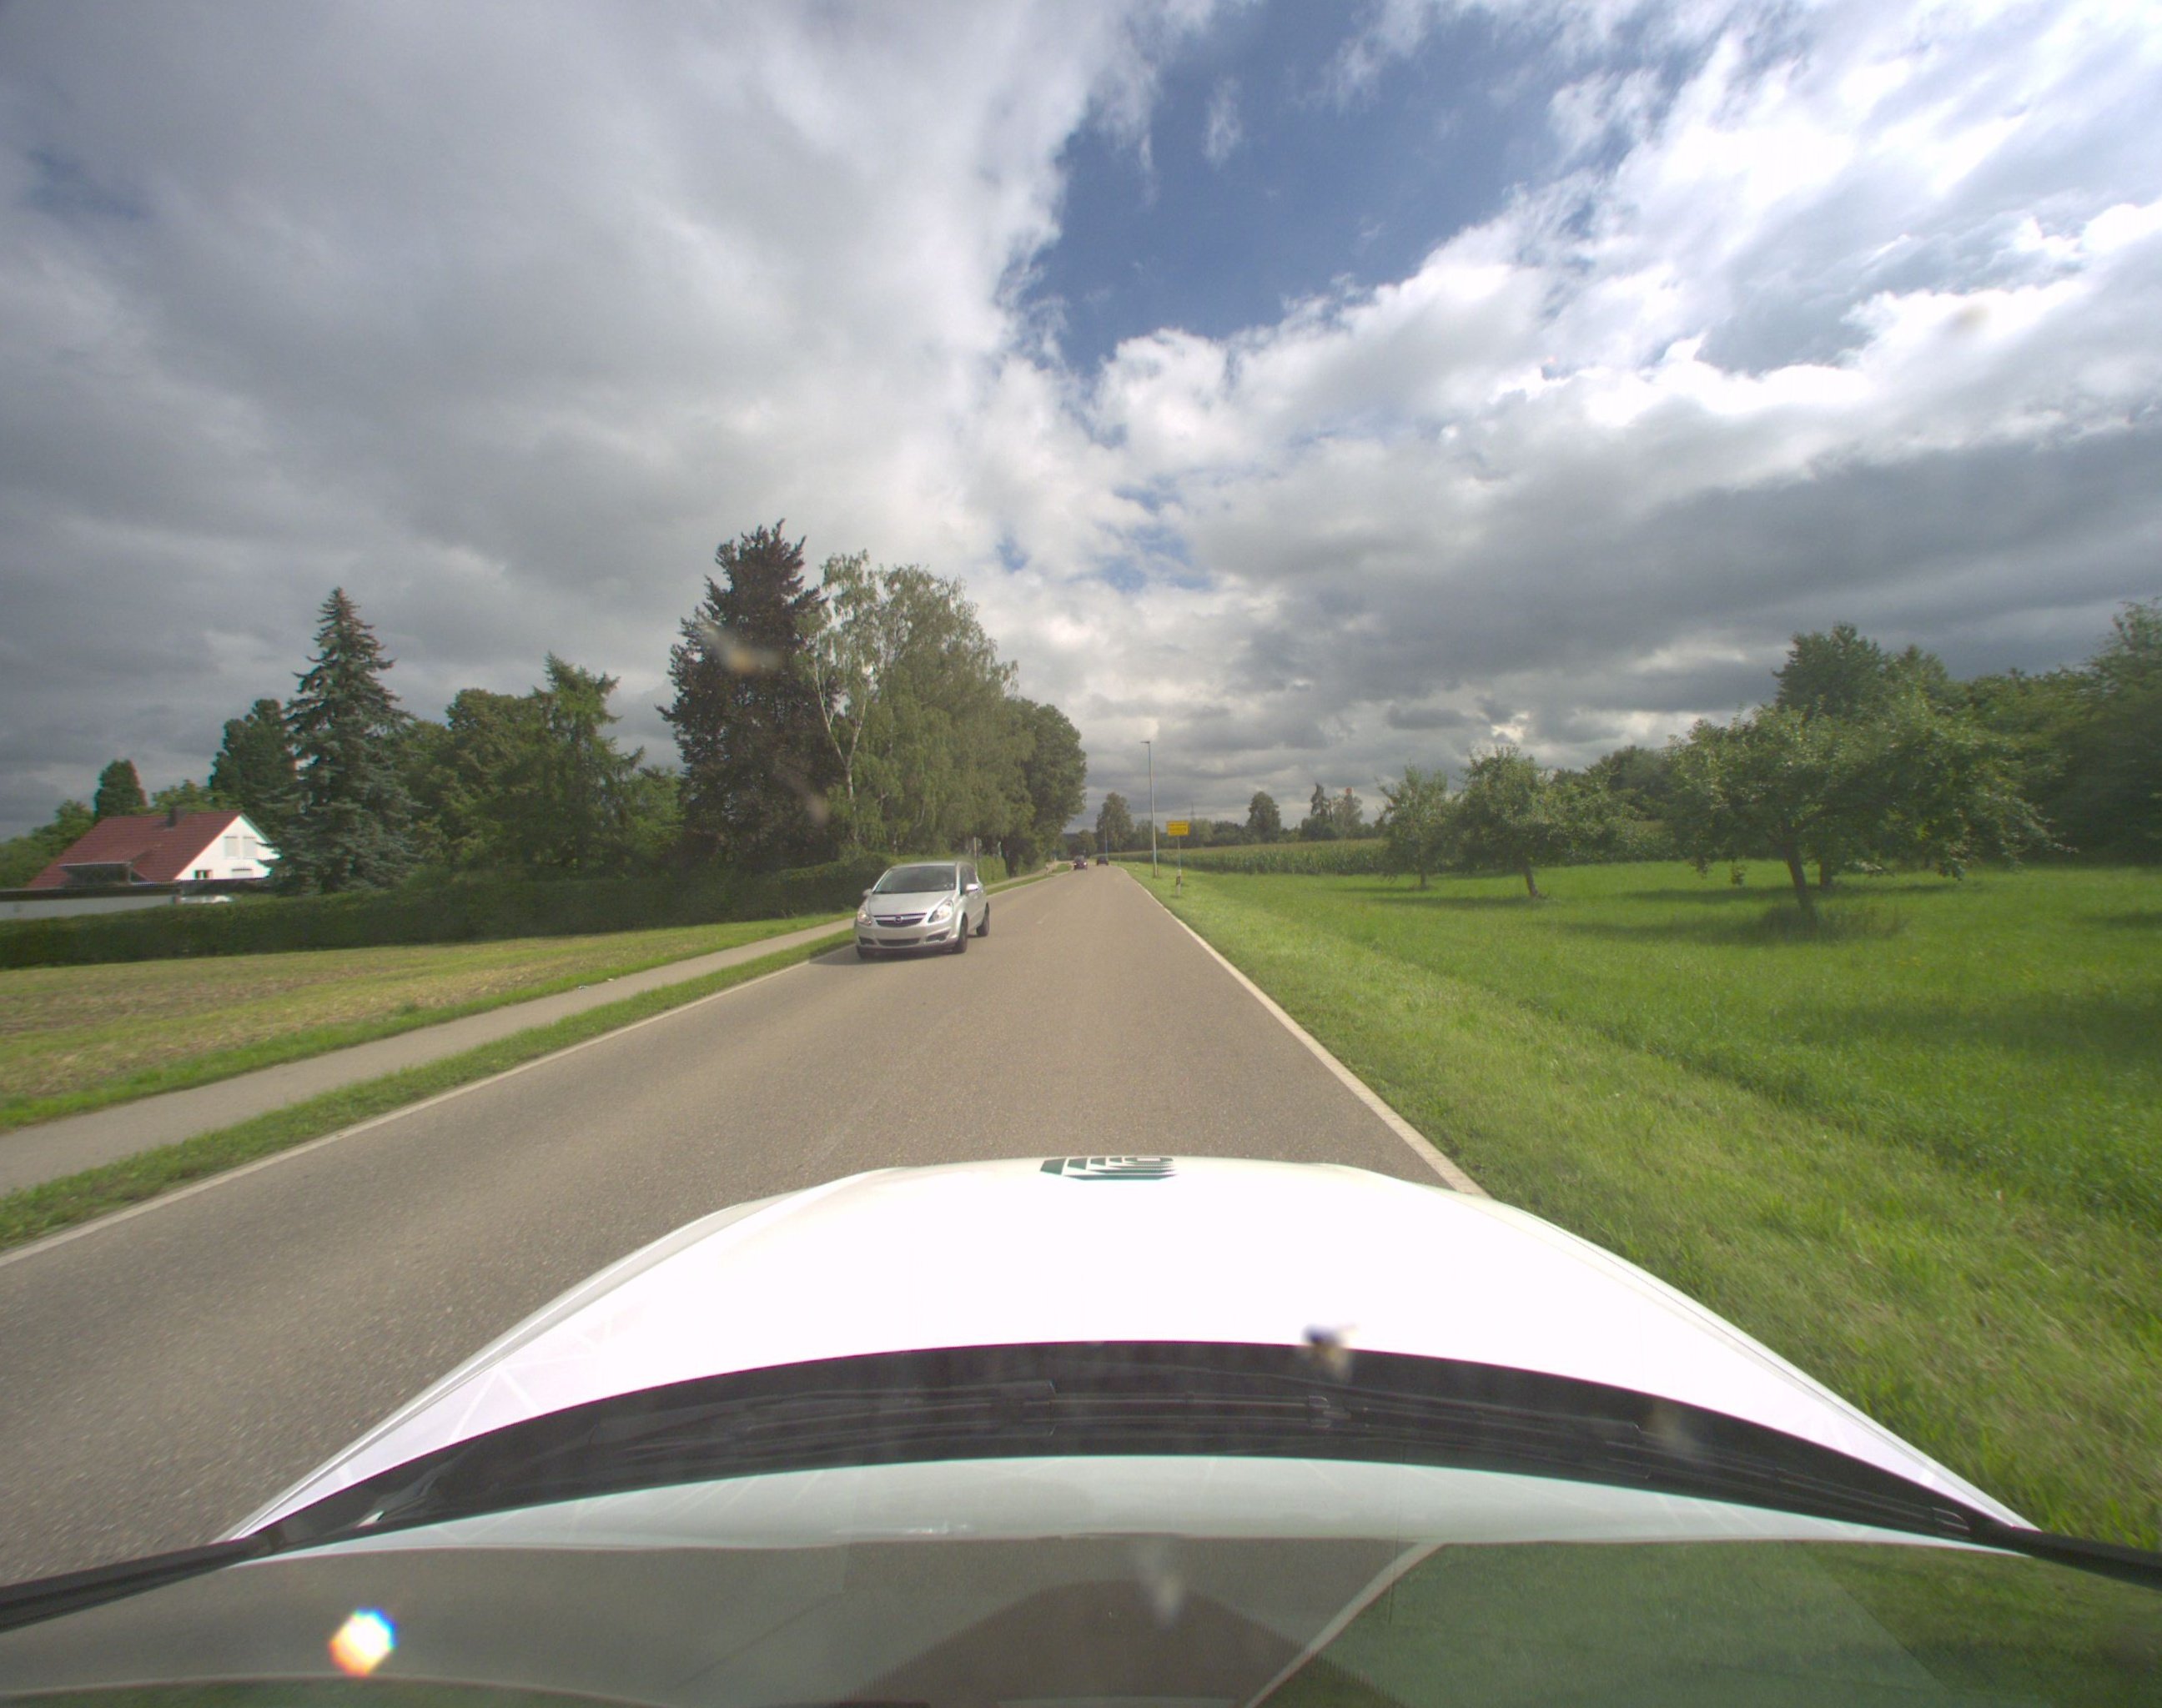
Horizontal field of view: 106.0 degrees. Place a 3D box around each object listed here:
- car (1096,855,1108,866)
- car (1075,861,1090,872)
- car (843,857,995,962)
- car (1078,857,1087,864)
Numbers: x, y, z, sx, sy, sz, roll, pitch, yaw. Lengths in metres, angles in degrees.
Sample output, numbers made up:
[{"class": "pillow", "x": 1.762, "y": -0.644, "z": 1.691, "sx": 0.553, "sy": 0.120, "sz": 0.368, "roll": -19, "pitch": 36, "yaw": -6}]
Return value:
[{"class": "car", "x": 3.363, "y": 1.057, "z": 130.084, "sx": 1.899, "sy": 1.666, "sz": 4.001, "roll": -2, "pitch": 0, "yaw": 1}, {"class": "car", "x": 0.231, "y": 1.580, "z": 101.285, "sx": 1.739, "sy": 1.222, "sz": 3.544, "roll": -4, "pitch": 0, "yaw": 2}, {"class": "car", "x": -2.599, "y": 0.827, "z": 13.846, "sx": 1.688, "sy": 1.459, "sz": 3.545, "roll": -3, "pitch": 0, "yaw": 2}, {"class": "car", "x": 0.264, "y": 1.332, "z": 170.361, "sx": 1.739, "sy": 1.222, "sz": 3.545, "roll": -4, "pitch": 0, "yaw": 2}]
